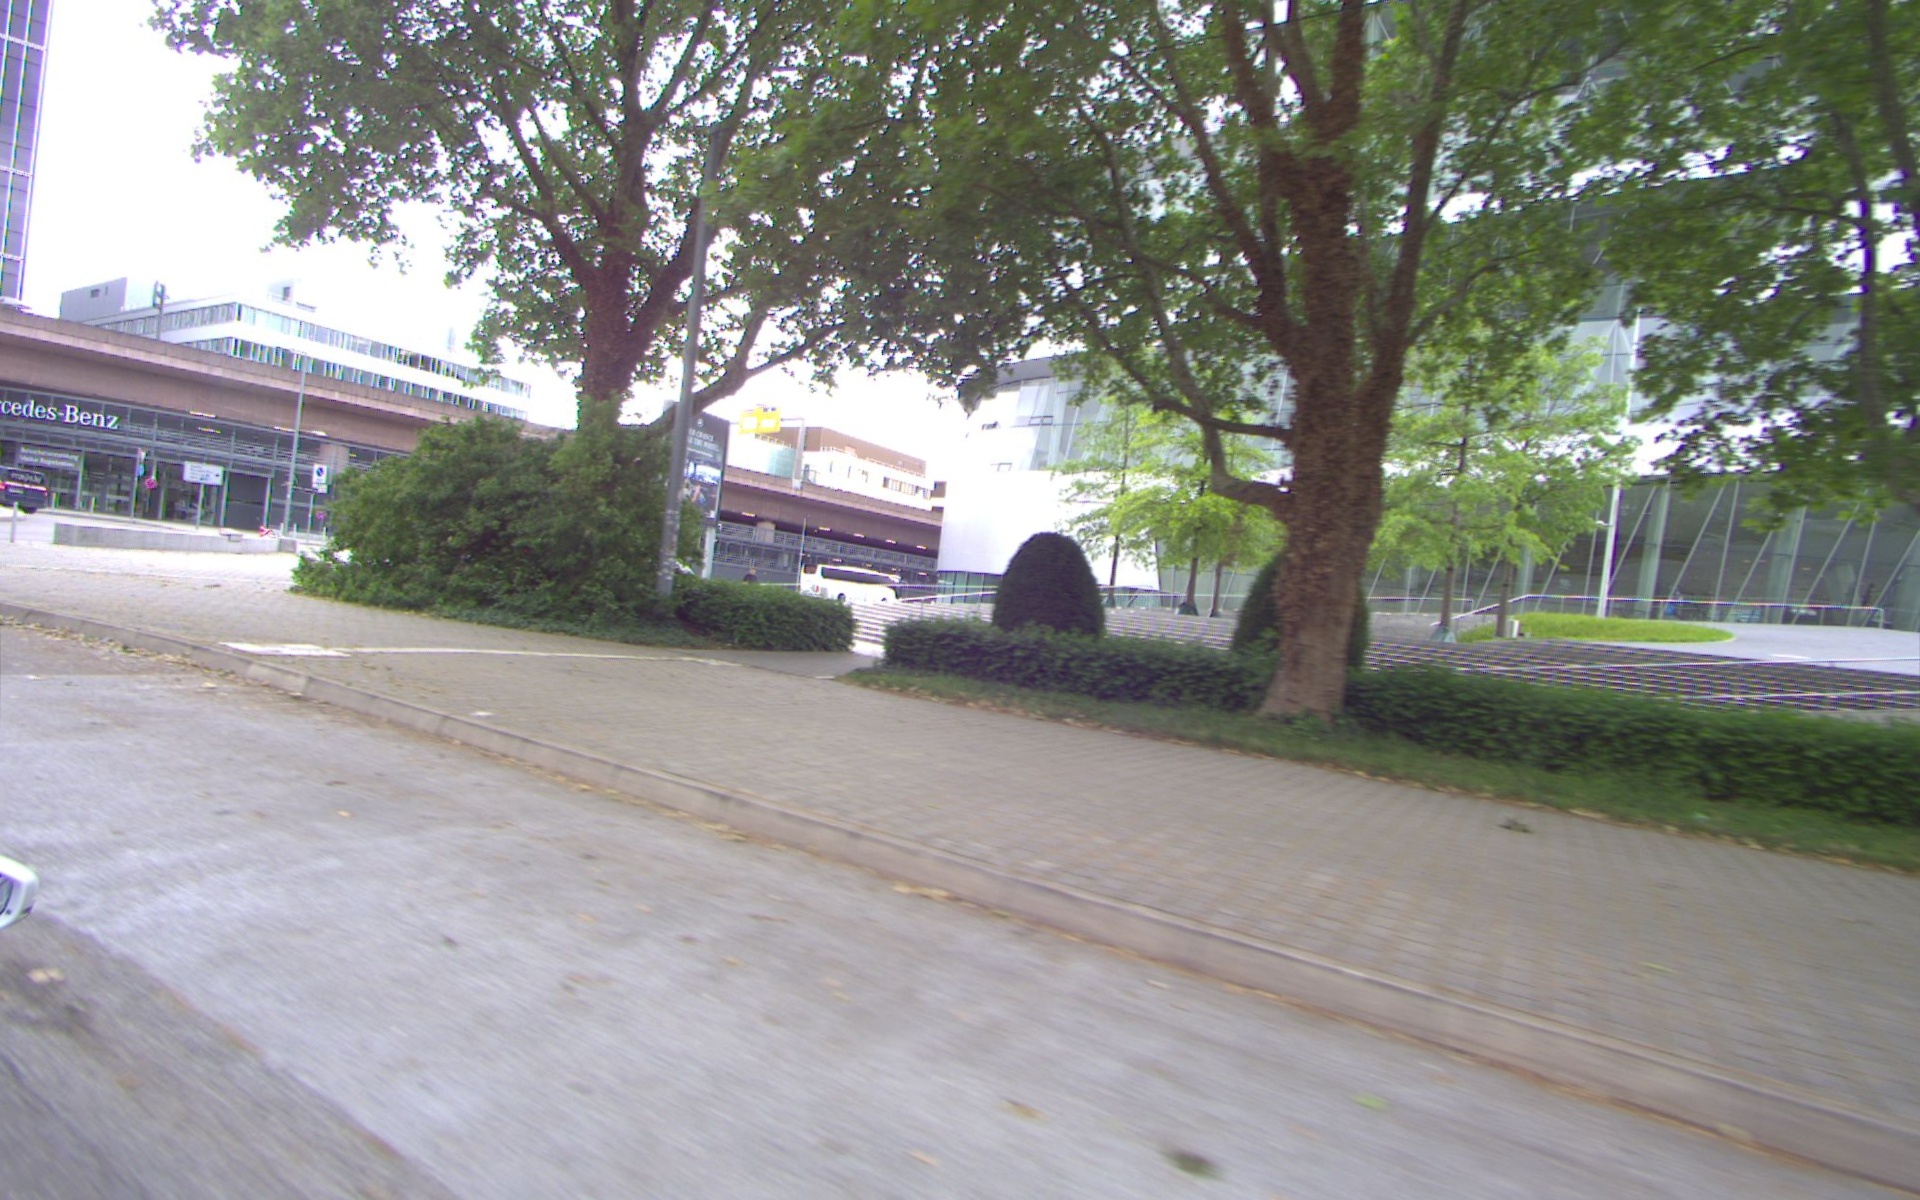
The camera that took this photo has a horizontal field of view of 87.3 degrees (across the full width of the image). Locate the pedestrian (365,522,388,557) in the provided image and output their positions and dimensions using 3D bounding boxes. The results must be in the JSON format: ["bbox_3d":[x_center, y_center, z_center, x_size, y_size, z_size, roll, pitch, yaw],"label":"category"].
[{"bbox_3d":[-31.272,-3.254,53.941,0.826,1.762,0.683,7,0,-37],"label":"pedestrian"}]

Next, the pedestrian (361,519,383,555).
[{"bbox_3d":[-31.063,-3.339,53.108,0.825,1.762,0.684,7,0,-33],"label":"pedestrian"}]

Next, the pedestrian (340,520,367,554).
[{"bbox_3d":[-31.287,-3.249,51.888,0.678,1.589,0.832,7,0,30],"label":"pedestrian"}]

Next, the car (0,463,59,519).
[{"bbox_3d":[-42.177,-4.908,43.793,4.694,2.038,2.284,7,-1,19],"label":"car"}]

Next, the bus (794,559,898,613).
[{"bbox_3d":[-10.955,-1.278,98.024,2.718,3.981,11.044,7,-1,38],"label":"bus"}]
